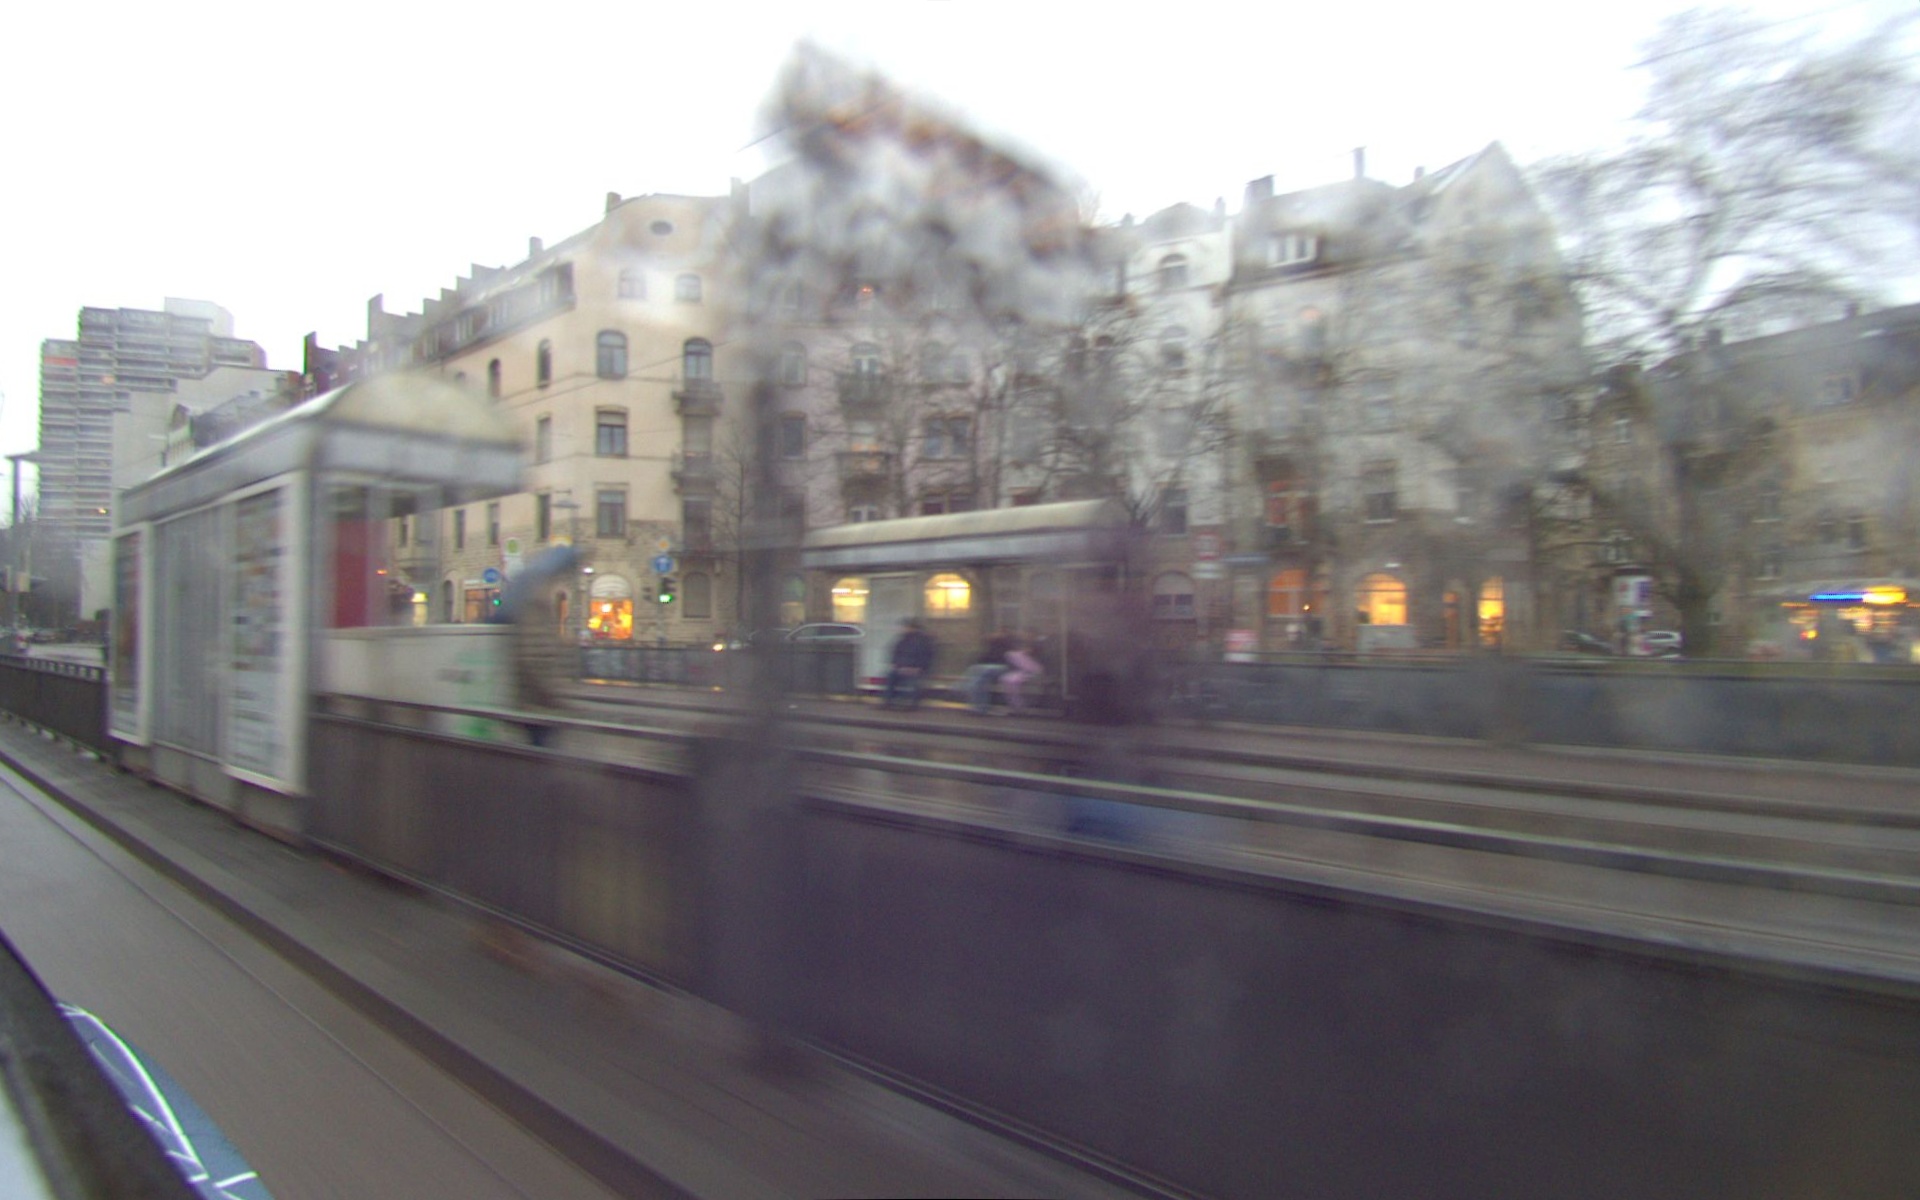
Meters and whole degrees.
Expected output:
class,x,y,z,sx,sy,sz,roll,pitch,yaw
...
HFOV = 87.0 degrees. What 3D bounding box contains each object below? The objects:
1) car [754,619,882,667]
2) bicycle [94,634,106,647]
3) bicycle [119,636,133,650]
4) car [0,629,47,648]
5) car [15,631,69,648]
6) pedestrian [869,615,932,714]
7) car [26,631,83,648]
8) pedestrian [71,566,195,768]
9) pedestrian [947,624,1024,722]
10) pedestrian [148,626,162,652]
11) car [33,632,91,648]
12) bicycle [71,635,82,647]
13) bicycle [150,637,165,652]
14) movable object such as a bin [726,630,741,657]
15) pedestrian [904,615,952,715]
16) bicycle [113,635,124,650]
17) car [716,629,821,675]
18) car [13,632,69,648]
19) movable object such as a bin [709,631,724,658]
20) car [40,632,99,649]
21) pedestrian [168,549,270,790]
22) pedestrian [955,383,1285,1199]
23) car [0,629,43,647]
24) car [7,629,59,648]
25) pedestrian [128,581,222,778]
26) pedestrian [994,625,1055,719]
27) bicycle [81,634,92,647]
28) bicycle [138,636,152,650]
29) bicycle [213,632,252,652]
class,x,y,z,sx,sy,sz,roll,pitch,yaw
car,-4.947,1.470,35.069,4.273,1.595,1.941,0,-2,-10
bicycle,-67.606,3.217,79.541,1.881,1.014,0.429,-2,-3,43
bicycle,-61.198,3.162,74.240,2.209,1.014,0.478,-1,1,43
car,-99.482,4.055,107.249,1.726,1.730,3.790,-1,1,41
car,-92.151,3.968,101.629,1.726,1.424,3.790,-1,1,41
pedestrian,-0.887,0.943,15.121,0.578,1.414,0.677,-2,1,41
car,-84.622,3.672,94.585,1.726,1.424,3.790,-1,1,41
pedestrian,-8.484,0.646,10.394,0.570,1.970,0.844,-2,1,41
pedestrian,0.368,1.000,14.173,0.506,1.264,1.045,-2,1,40
pedestrian,-51.844,2.511,65.212,0.448,1.654,0.567,-2,1,37
car,-82.389,3.672,92.876,1.726,1.424,3.790,-2,-3,41
bicycle,-75.603,3.525,86.564,1.881,1.014,0.463,-1,1,43
bicycle,-53.127,2.920,66.980,0.523,0.947,2.087,-3,1,-45
movable object such as a bin,-9.832,1.884,43.892,0.638,1.144,0.655,0,-2,-12
pedestrian,-0.468,0.937,14.761,0.453,1.414,0.468,-2,1,41
bicycle,-63.229,3.189,76.037,1.712,1.014,0.429,-1,1,43
car,-7.212,1.935,38.250,3.764,1.483,1.617,-2,1,-10
car,-89.166,3.869,98.220,1.726,1.424,3.790,-2,0,41
movable object such as a bin,-10.536,1.915,43.789,0.638,1.144,0.693,0,-2,-12
car,-80.260,3.630,91.253,1.726,1.424,3.790,-2,-2,41
pedestrian,-6.444,0.571,8.802,0.571,2.002,0.551,-2,1,42
pedestrian,0.412,0.440,2.581,0.571,1.821,0.551,-2,1,42
car,-102.338,4.106,109.990,1.726,1.730,3.790,-1,1,41
car,-96.955,4.017,105.861,1.726,1.730,3.790,-2,0,41
pedestrian,-7.341,0.715,9.465,0.571,1.754,0.551,-2,1,42
pedestrian,0.890,0.967,13.872,0.517,1.227,0.646,-2,1,41
bicycle,-71.891,3.360,83.304,1.881,1.014,0.429,-1,1,43
bicycle,-56.615,2.976,70.279,0.523,0.896,2.210,-3,1,-45
bicycle,-46.812,2.675,65.121,0.531,1.167,1.964,-2,1,40
